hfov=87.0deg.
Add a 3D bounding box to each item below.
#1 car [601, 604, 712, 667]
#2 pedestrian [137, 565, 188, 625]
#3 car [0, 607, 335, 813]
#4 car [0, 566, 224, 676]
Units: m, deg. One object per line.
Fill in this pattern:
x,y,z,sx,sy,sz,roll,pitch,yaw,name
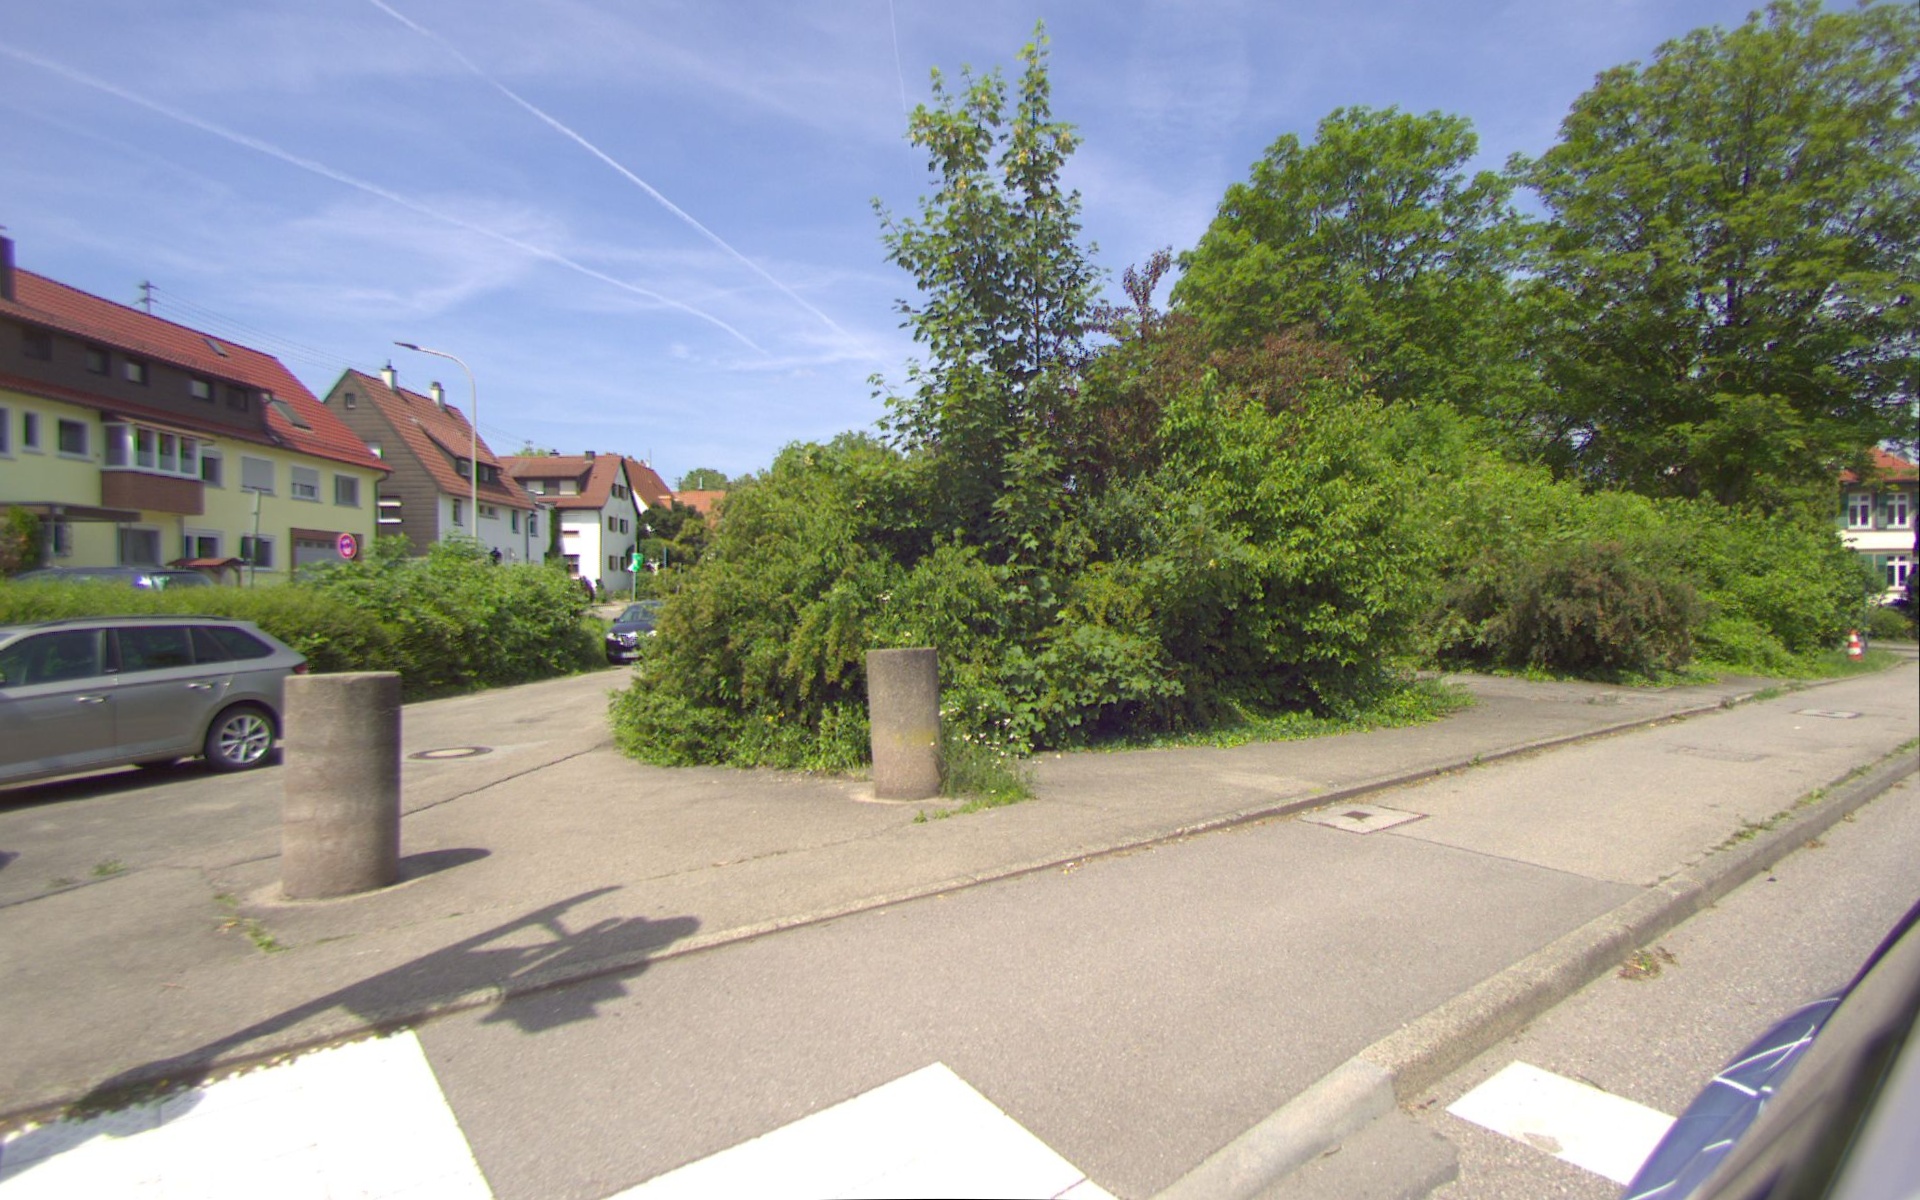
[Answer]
-7.502,0.834,25.354,1.578,1.423,3.605,0,0,3,car
-21.672,-0.141,27.520,0.765,1.626,0.799,0,0,3,pedestrian
-7.881,0.907,8.674,1.607,1.485,4.052,-3,1,25,car
-12.997,0.275,14.890,3.370,1.503,1.417,1,0,2,car
